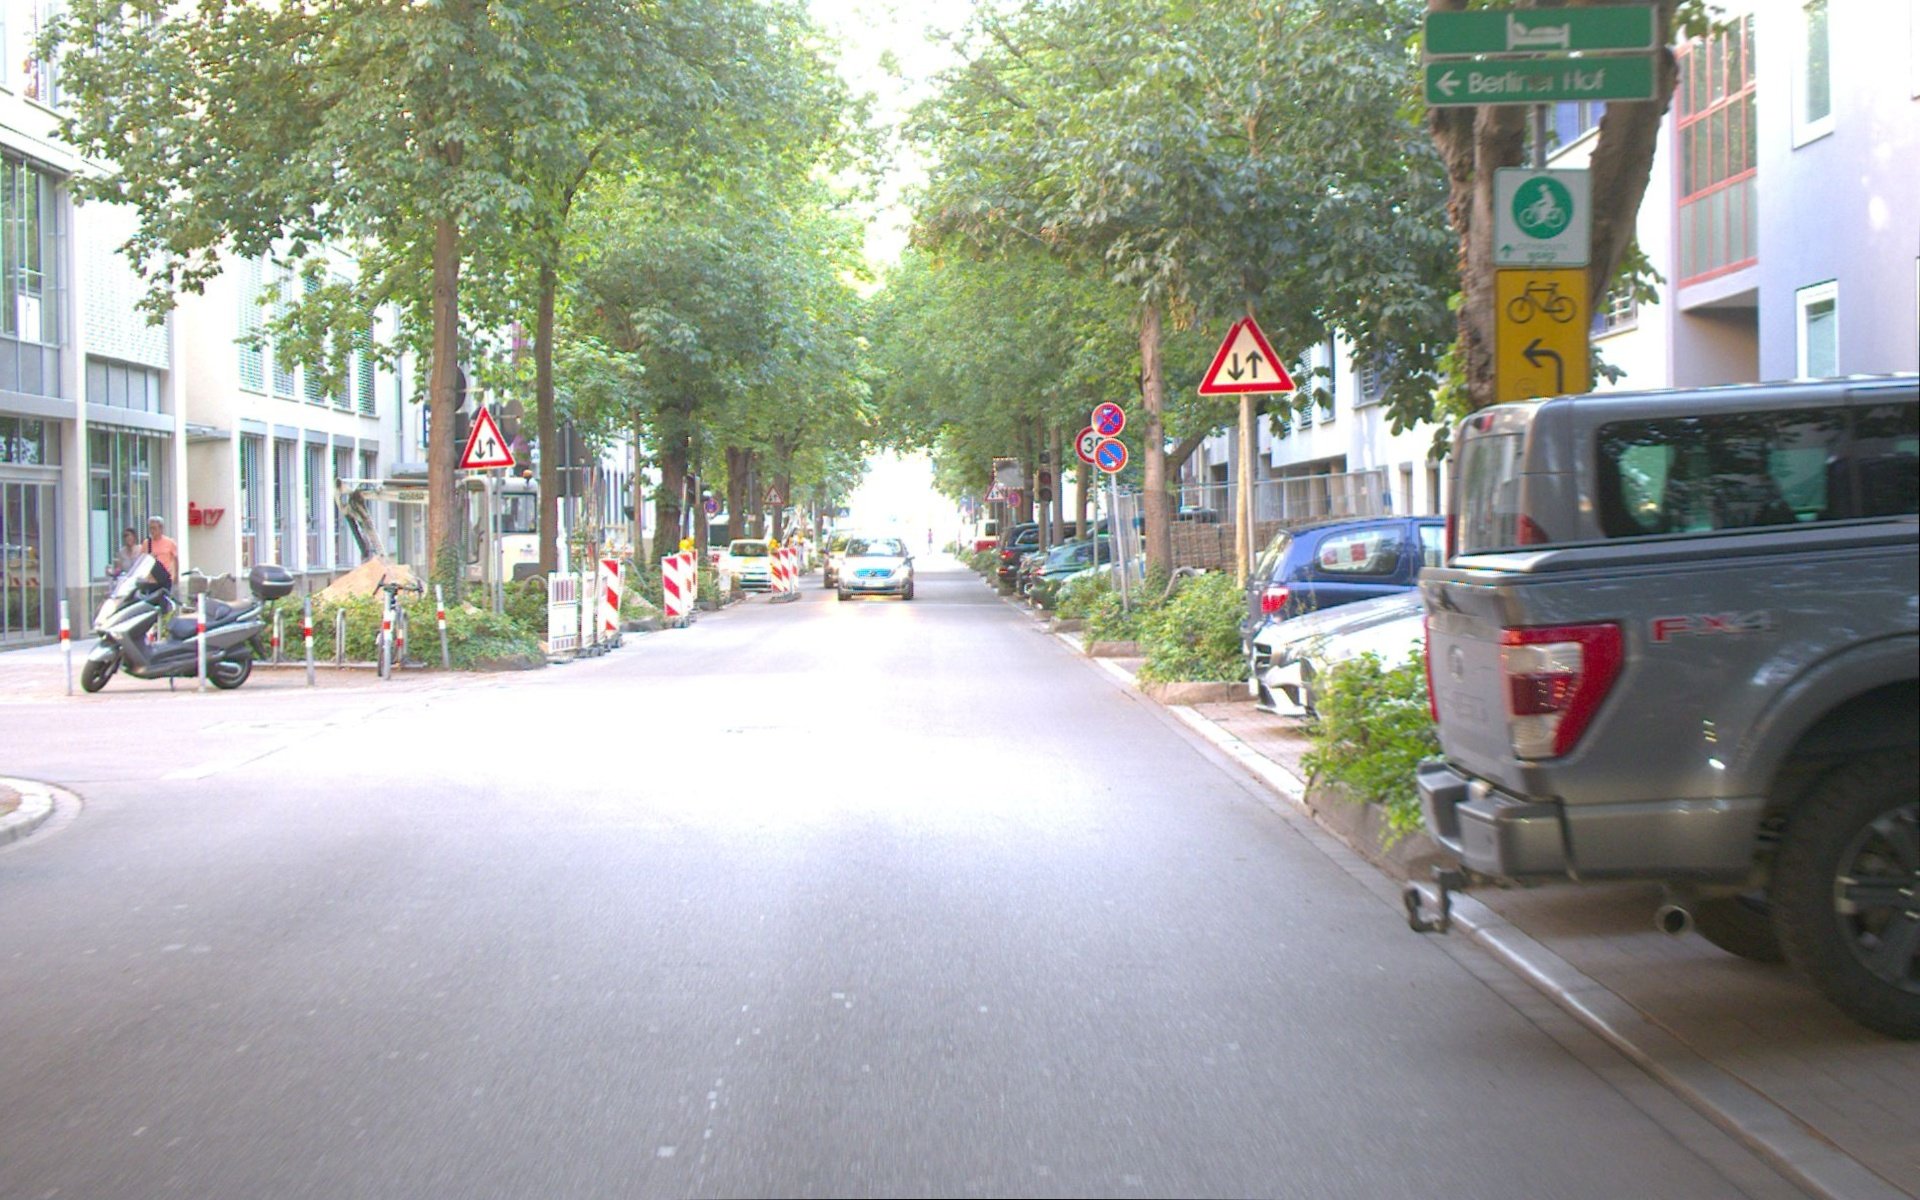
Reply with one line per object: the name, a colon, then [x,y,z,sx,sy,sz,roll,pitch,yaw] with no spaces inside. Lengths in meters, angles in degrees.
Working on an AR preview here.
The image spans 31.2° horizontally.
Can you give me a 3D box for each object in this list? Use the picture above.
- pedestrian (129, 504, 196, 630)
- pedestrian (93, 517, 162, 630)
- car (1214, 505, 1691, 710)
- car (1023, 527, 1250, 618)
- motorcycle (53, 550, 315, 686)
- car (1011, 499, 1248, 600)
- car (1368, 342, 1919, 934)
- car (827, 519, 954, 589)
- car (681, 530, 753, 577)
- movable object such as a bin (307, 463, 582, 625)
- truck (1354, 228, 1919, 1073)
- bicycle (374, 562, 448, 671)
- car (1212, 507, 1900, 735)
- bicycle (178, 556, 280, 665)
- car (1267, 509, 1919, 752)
pedestrian: [-10.814,-0.447,46.613,0.739,1.684,0.607,-1,1,1]
pedestrian: [-11.356,-0.362,46.910,0.769,1.530,0.643,-1,1,0]
car: [3.888,0.041,27.588,3.539,1.558,1.832,-1,1,-1]
car: [3.150,-0.503,61.918,3.987,1.579,2.000,-1,1,1]
motorcycle: [-7.862,0.160,34.890,2.350,1.277,1.067,-2,2,-41]
car: [3.470,-1.048,70.955,4.738,2.007,2.000,0,1,-1]
car: [4.038,0.081,13.250,4.600,2.059,2.198,-1,1,-1]
car: [-1.669,-1.138,84.048,2.011,1.607,4.117,0,2,15]
car: [-6.946,-1.335,97.877,1.993,1.284,4.001,-1,1,-5]
movable object such as a bin: [-7.909,-0.888,53.133,4.045,2.375,2.785,-1,2,-6]
truck: [4.280,0.097,10.507,5.888,2.303,2.212,-1,1,0]
bicycle: [-6.154,0.170,38.624,0.683,1.148,1.981,-1,2,-6]
car: [4.227,0.126,24.930,4.621,1.566,2.011,0,1,-1]
bicycle: [-8.190,0.107,38.595,0.683,1.148,1.981,-1,2,0]
car: [4.479,0.171,22.536,4.782,1.515,1.991,0,1,1]
